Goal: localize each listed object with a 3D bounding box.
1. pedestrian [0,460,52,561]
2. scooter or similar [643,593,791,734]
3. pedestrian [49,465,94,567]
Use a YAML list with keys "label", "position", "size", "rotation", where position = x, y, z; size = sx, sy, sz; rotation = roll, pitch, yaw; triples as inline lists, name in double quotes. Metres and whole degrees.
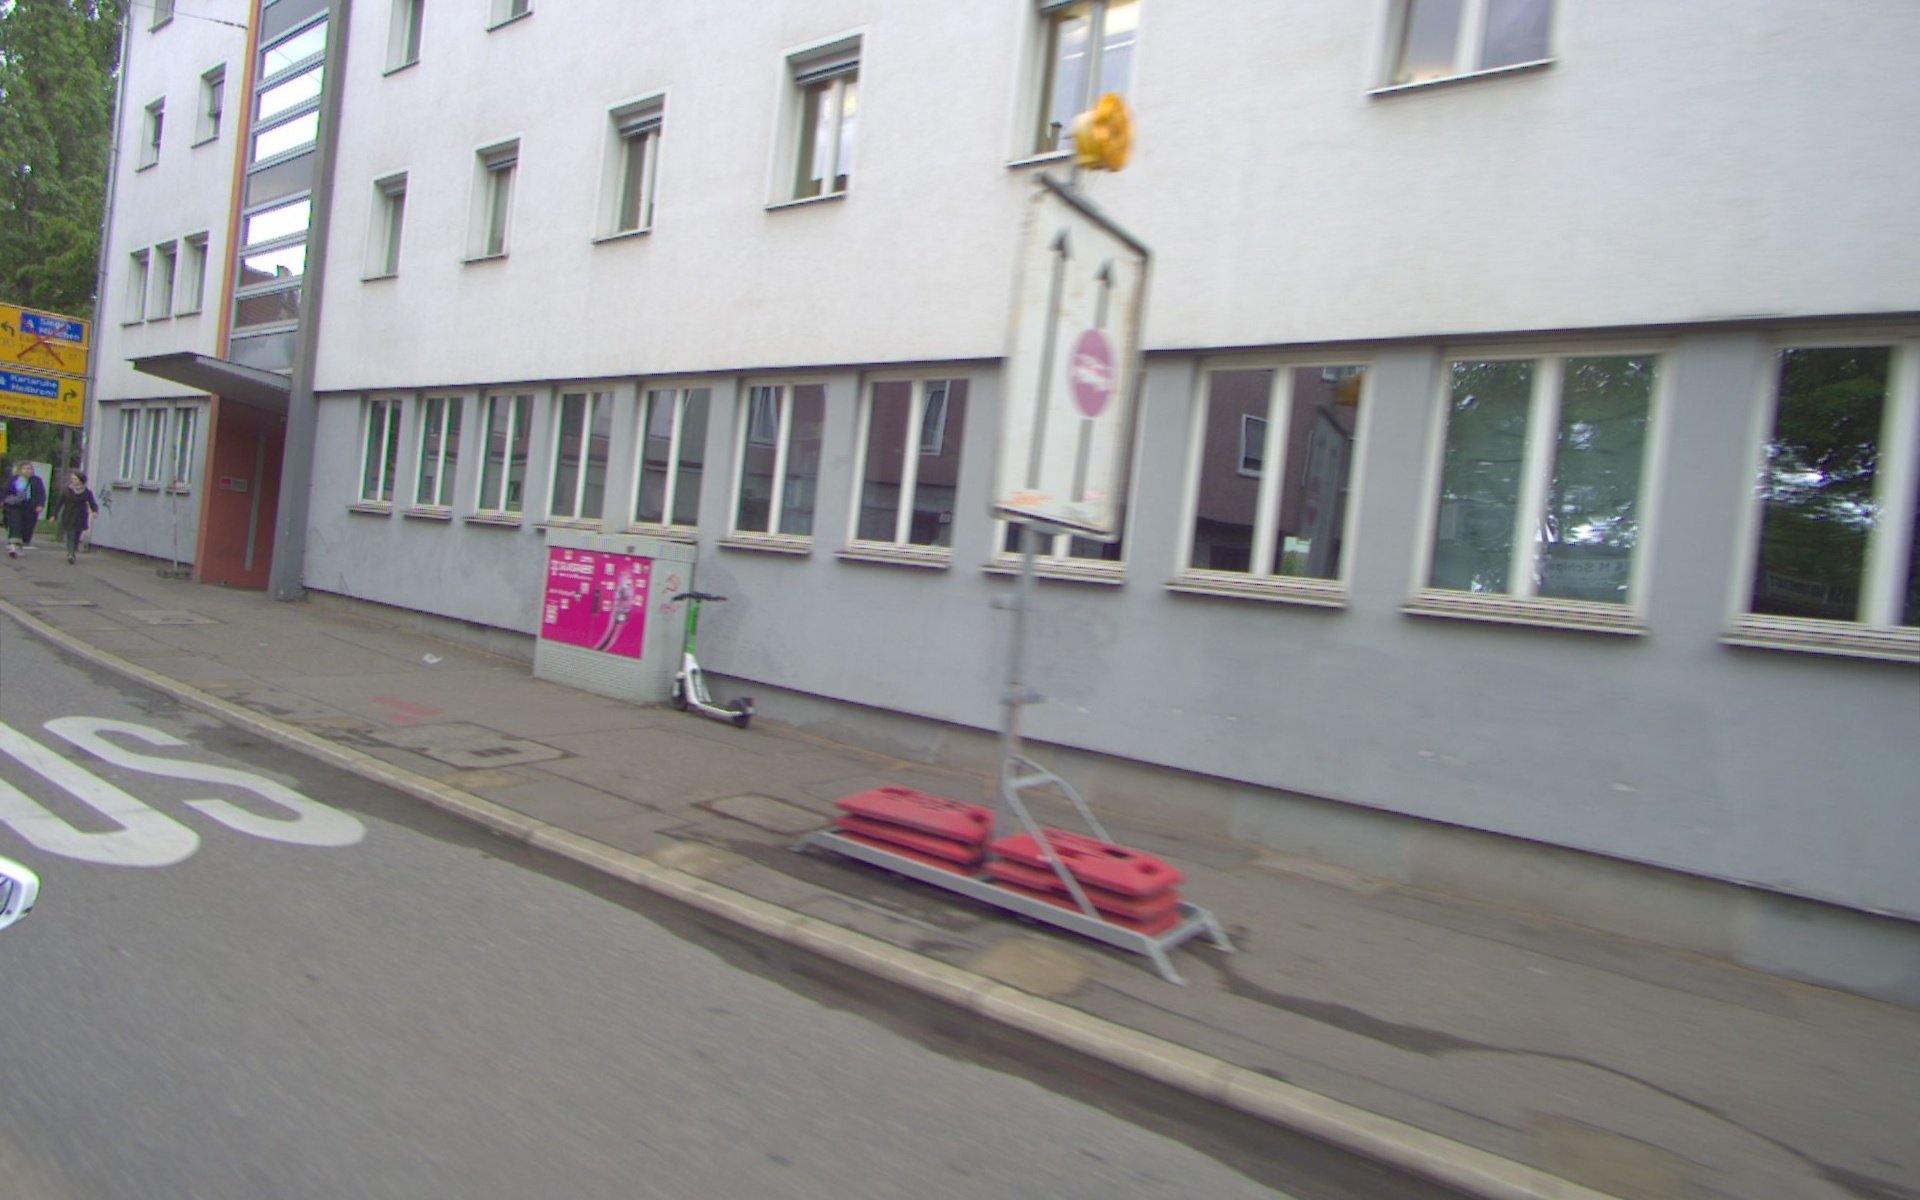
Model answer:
- label: "pedestrian"
  position: [-17.550, -1.678, 18.752]
  size: [0.864, 1.781, 0.686]
  rotation: [9, 4, 35]
- label: "scooter or similar"
  position: [-2.315, 0.576, 9.508]
  size: [1.416, 1.111, 0.428]
  rotation: [8, 3, 35]
- label: "pedestrian"
  position: [-16.340, -1.542, 18.506]
  size: [0.540, 1.781, 0.601]
  rotation: [4, 4, -41]
